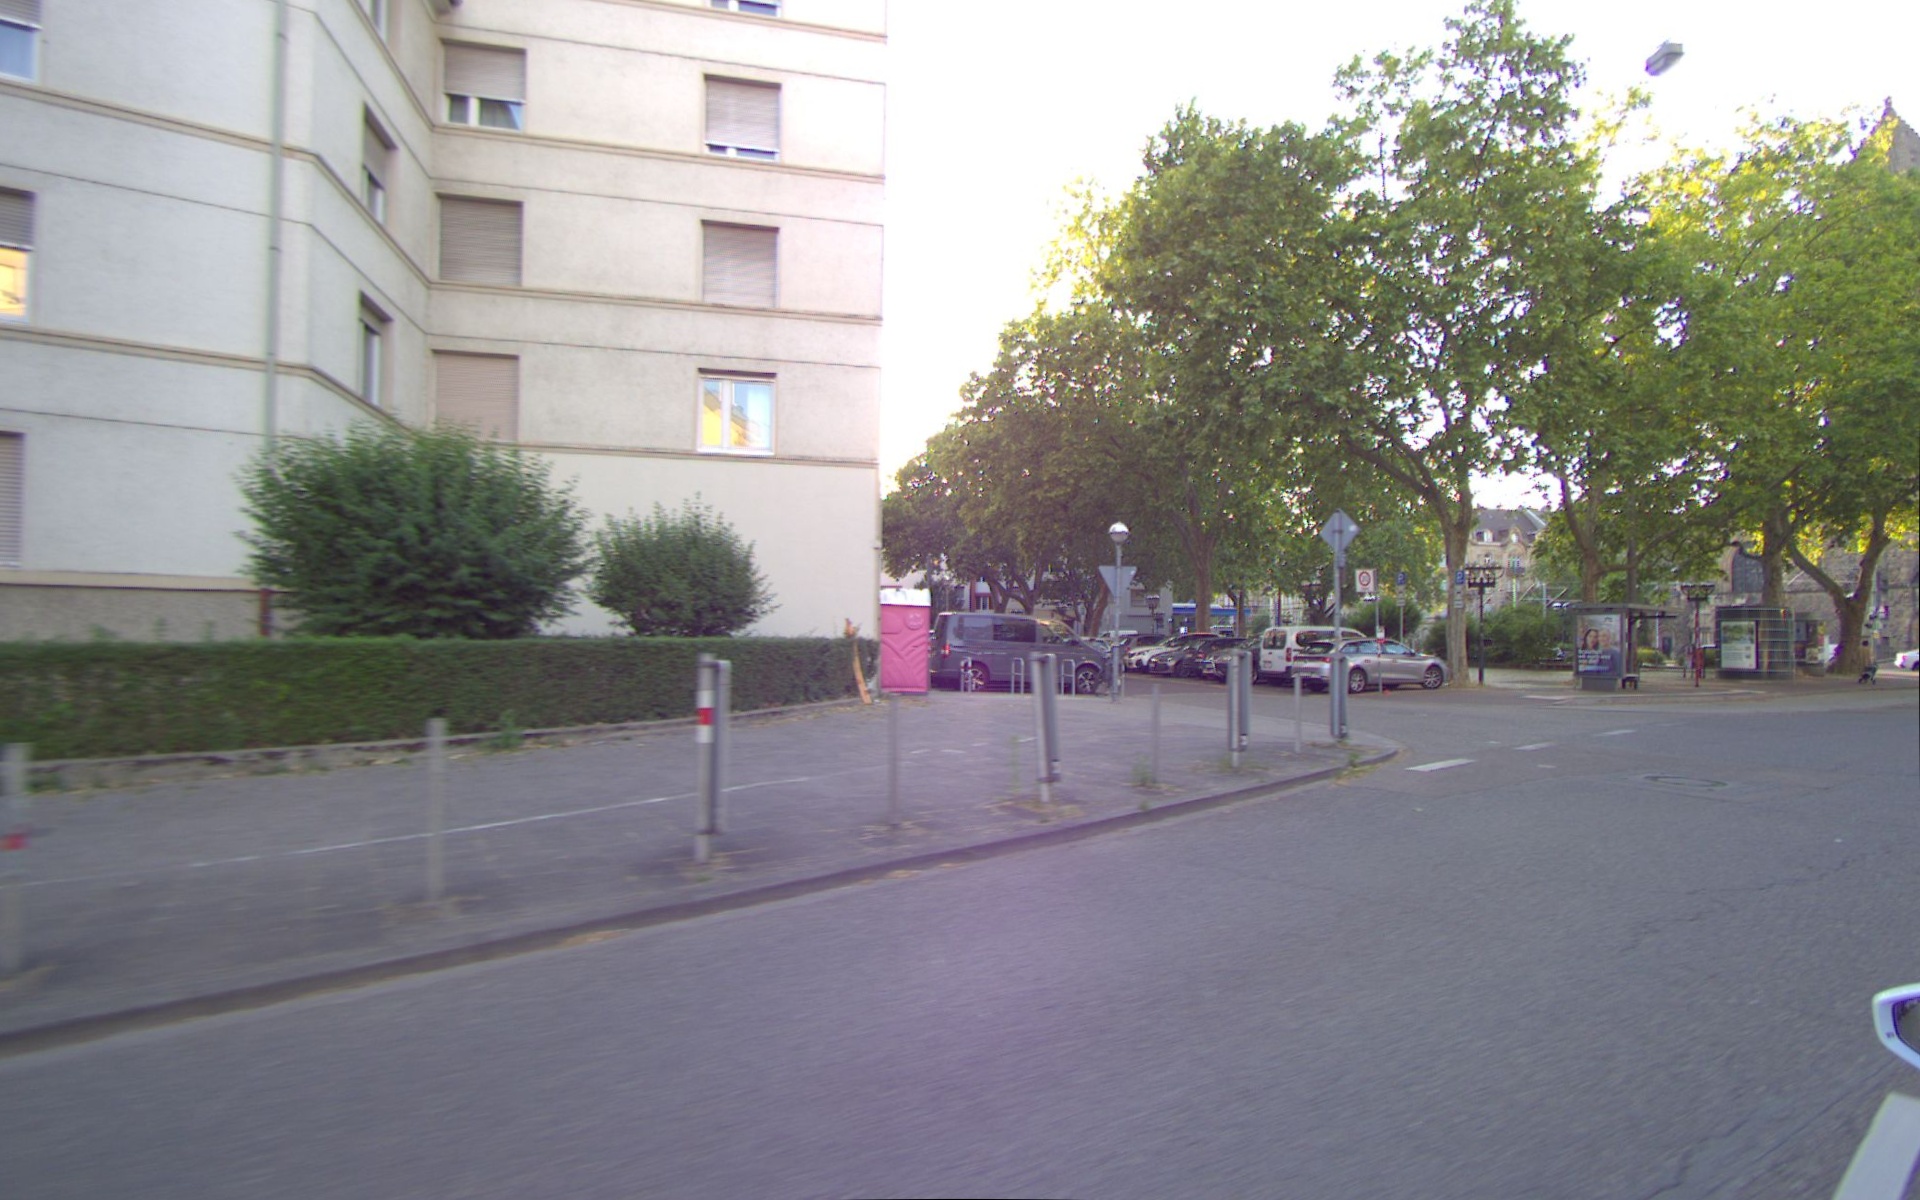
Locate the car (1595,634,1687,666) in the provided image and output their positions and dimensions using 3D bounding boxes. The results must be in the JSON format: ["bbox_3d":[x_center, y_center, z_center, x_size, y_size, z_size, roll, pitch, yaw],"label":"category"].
[{"bbox_3d":[41.859,3.049,61.743,4.549,1.865,2.081,0,-2,-11],"label":"car"}]

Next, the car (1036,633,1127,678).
[{"bbox_3d":[4.370,1.998,36.763,1.967,1.539,3.988,1,-2,-15],"label":"car"}]

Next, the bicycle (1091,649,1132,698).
[{"bbox_3d":[3.520,1.695,23.473,0.471,1.056,1.822,1,-2,-7],"label":"bicycle"}]

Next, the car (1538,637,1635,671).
[{"bbox_3d":[35.893,3.093,57.572,4.549,1.865,2.081,0,-2,-11],"label":"car"}]

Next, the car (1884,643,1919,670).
[{"bbox_3d":[58.120,3.390,59.621,4.568,1.550,1.993,-1,-2,36],"label":"car"}]

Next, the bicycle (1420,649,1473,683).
[{"bbox_3d":[15.697,2.128,32.419,1.564,1.088,0.402,1,-2,-8],"label":"bicycle"}]

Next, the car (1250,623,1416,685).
[{"bbox_3d":[11.436,1.630,30.869,4.552,1.824,1.820,0,-2,-14],"label":"car"}]

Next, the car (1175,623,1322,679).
[{"bbox_3d":[10.124,1.761,35.386,4.552,1.865,2.080,0,-2,-14],"label":"car"}]

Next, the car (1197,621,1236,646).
[{"bbox_3d":[24.145,3.133,94.773,1.897,2.289,4.331,2,-2,-11],"label":"car"}]

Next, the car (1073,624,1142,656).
[{"bbox_3d":[11.308,3.045,77.098,4.764,2.322,1.995,2,-2,-14],"label":"car"}]

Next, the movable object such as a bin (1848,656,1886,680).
[{"bbox_3d":[34.798,2.597,38.529,0.968,0.902,0.737,1,-2,-21],"label":"movable object such as a bin"}]

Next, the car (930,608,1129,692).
[{"bbox_3d":[1.754,1.305,26.082,4.762,1.999,1.996,2,-2,-13],"label":"car"}]

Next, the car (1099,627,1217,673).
[{"bbox_3d":[8.455,2.110,43.037,4.555,1.865,2.078,0,-2,-16],"label":"car"}]

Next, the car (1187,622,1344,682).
[{"bbox_3d":[10.001,1.679,33.016,4.552,1.865,2.080,0,-2,-14],"label":"car"}]

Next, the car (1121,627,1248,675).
[{"bbox_3d":[9.001,2.014,40.416,4.551,1.865,2.080,0,-2,-13],"label":"car"}]

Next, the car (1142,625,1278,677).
[{"bbox_3d":[9.397,1.877,37.865,4.552,1.865,2.080,0,-2,-14],"label":"car"}]

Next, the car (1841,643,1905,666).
[{"bbox_3d":[77.928,4.658,85.785,1.684,1.829,3.796,1,-2,-14],"label":"car"}]

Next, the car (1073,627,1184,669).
[{"bbox_3d":[7.653,2.147,45.670,4.556,1.865,2.078,0,-2,-17],"label":"car"}]

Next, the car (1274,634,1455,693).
[{"bbox_3d":[11.123,1.697,27.636,4.560,1.501,1.817,1,-2,-20],"label":"car"}]

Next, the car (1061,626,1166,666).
[{"bbox_3d":[7.352,2.162,48.107,4.557,1.865,2.077,0,-2,-18],"label":"car"}]

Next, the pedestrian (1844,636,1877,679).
[{"bbox_3d":[35.343,2.258,39.414,0.675,1.650,0.737,1,-2,-21],"label":"pedestrian"}]

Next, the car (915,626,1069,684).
[{"bbox_3d":[0.938,1.665,30.500,4.265,1.616,2.044,2,-2,-14],"label":"car"}]

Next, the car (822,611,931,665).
[{"bbox_3d":[-4.233,1.942,50.635,5.194,2.536,1.996,2,-2,-13],"label":"car"}]
